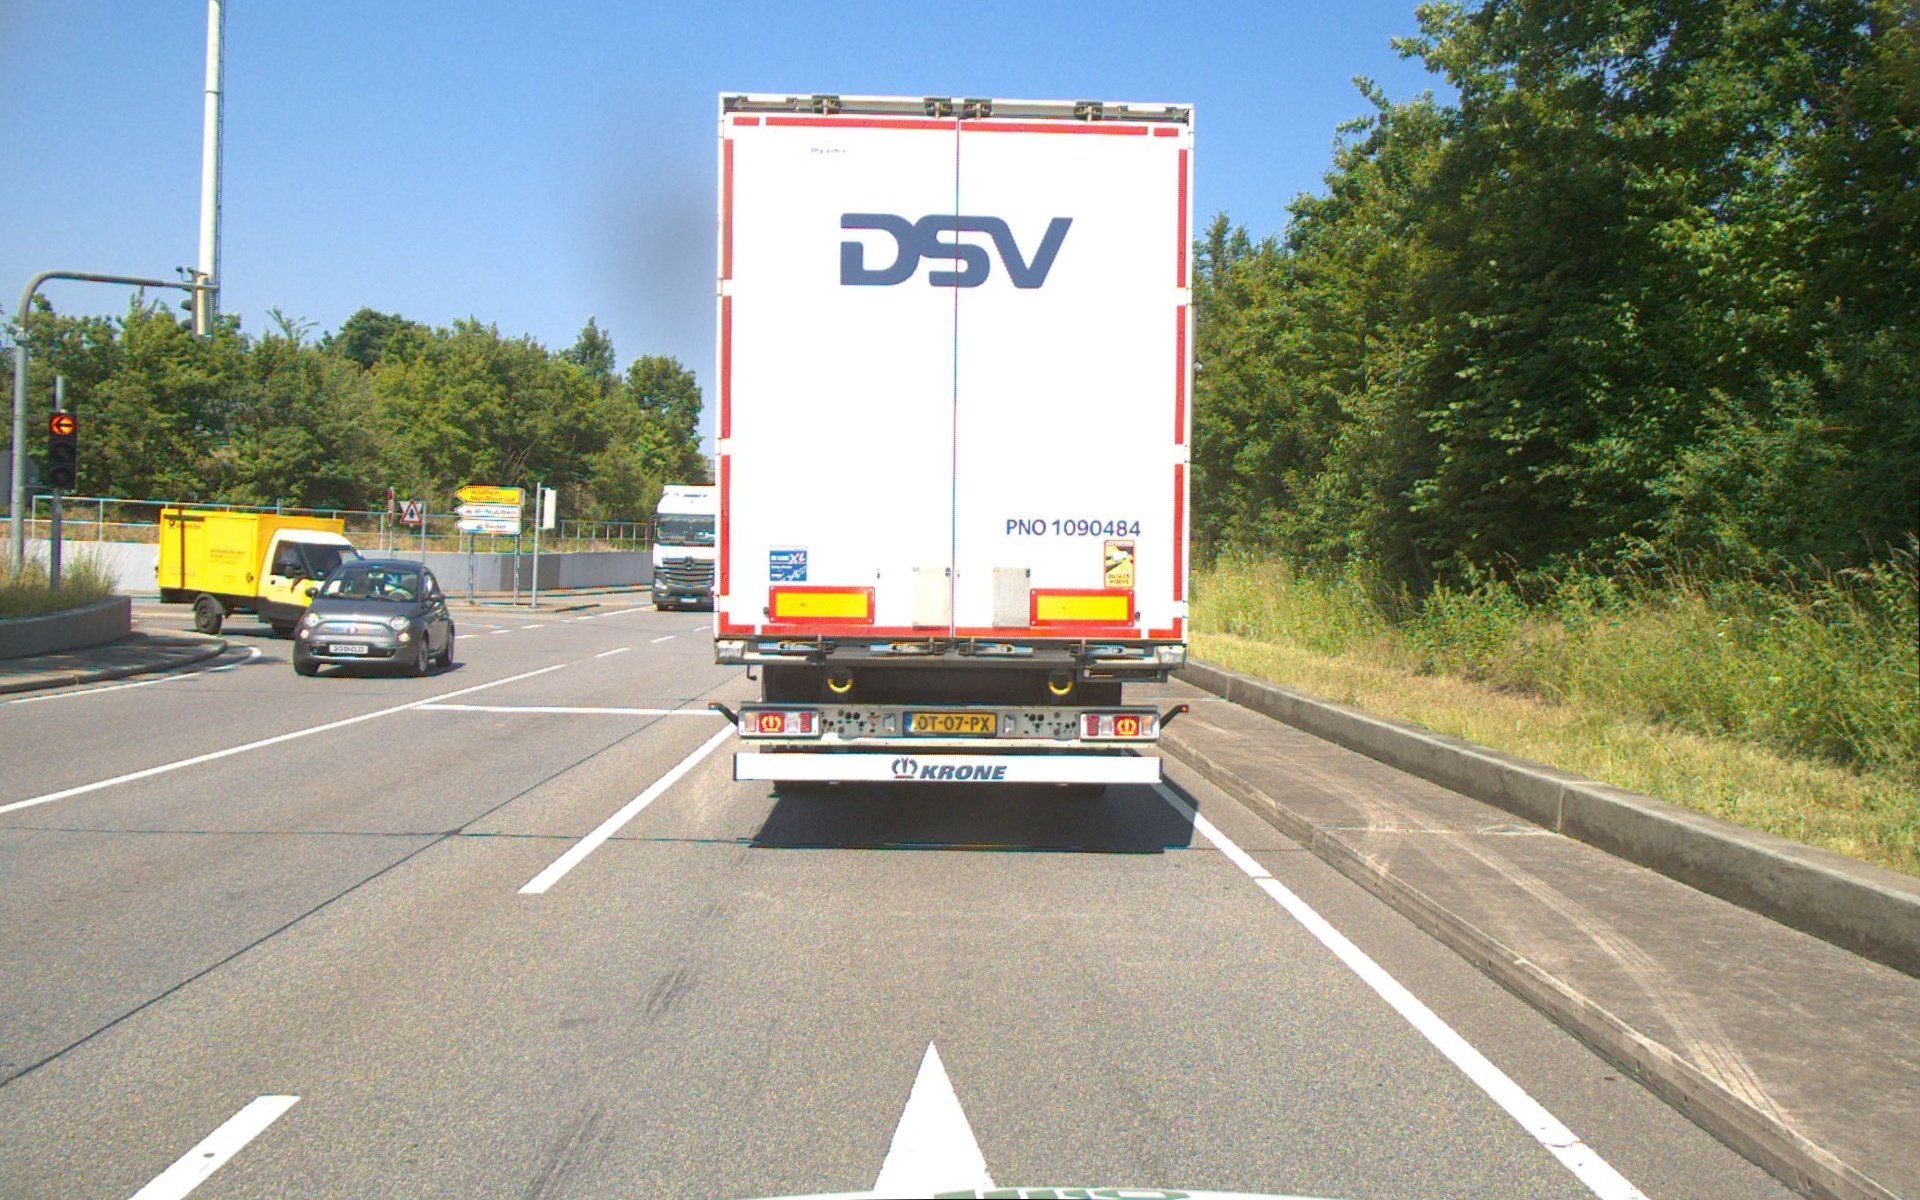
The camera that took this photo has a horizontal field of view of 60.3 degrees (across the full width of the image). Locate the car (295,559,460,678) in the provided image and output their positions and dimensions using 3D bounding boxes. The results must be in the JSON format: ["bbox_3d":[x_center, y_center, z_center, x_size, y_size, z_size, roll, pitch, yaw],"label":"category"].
[{"bbox_3d":[-7.949,0.198,22.851,1.558,1.495,3.592,1,1,-10],"label":"car"}]

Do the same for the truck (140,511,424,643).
[{"bbox_3d":[-12.908,-0.498,31.330,5.899,2.314,1.979,2,1,33],"label":"truck"}]

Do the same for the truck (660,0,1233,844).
[{"bbox_3d":[-0.123,-1.177,13.441,2.890,4.648,9.862,1,1,-1],"label":"truck"}]

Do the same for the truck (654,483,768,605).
[{"bbox_3d":[-8.582,-1.940,58.422,2.305,3.815,12.624,1,2,-1],"label":"truck"}]
